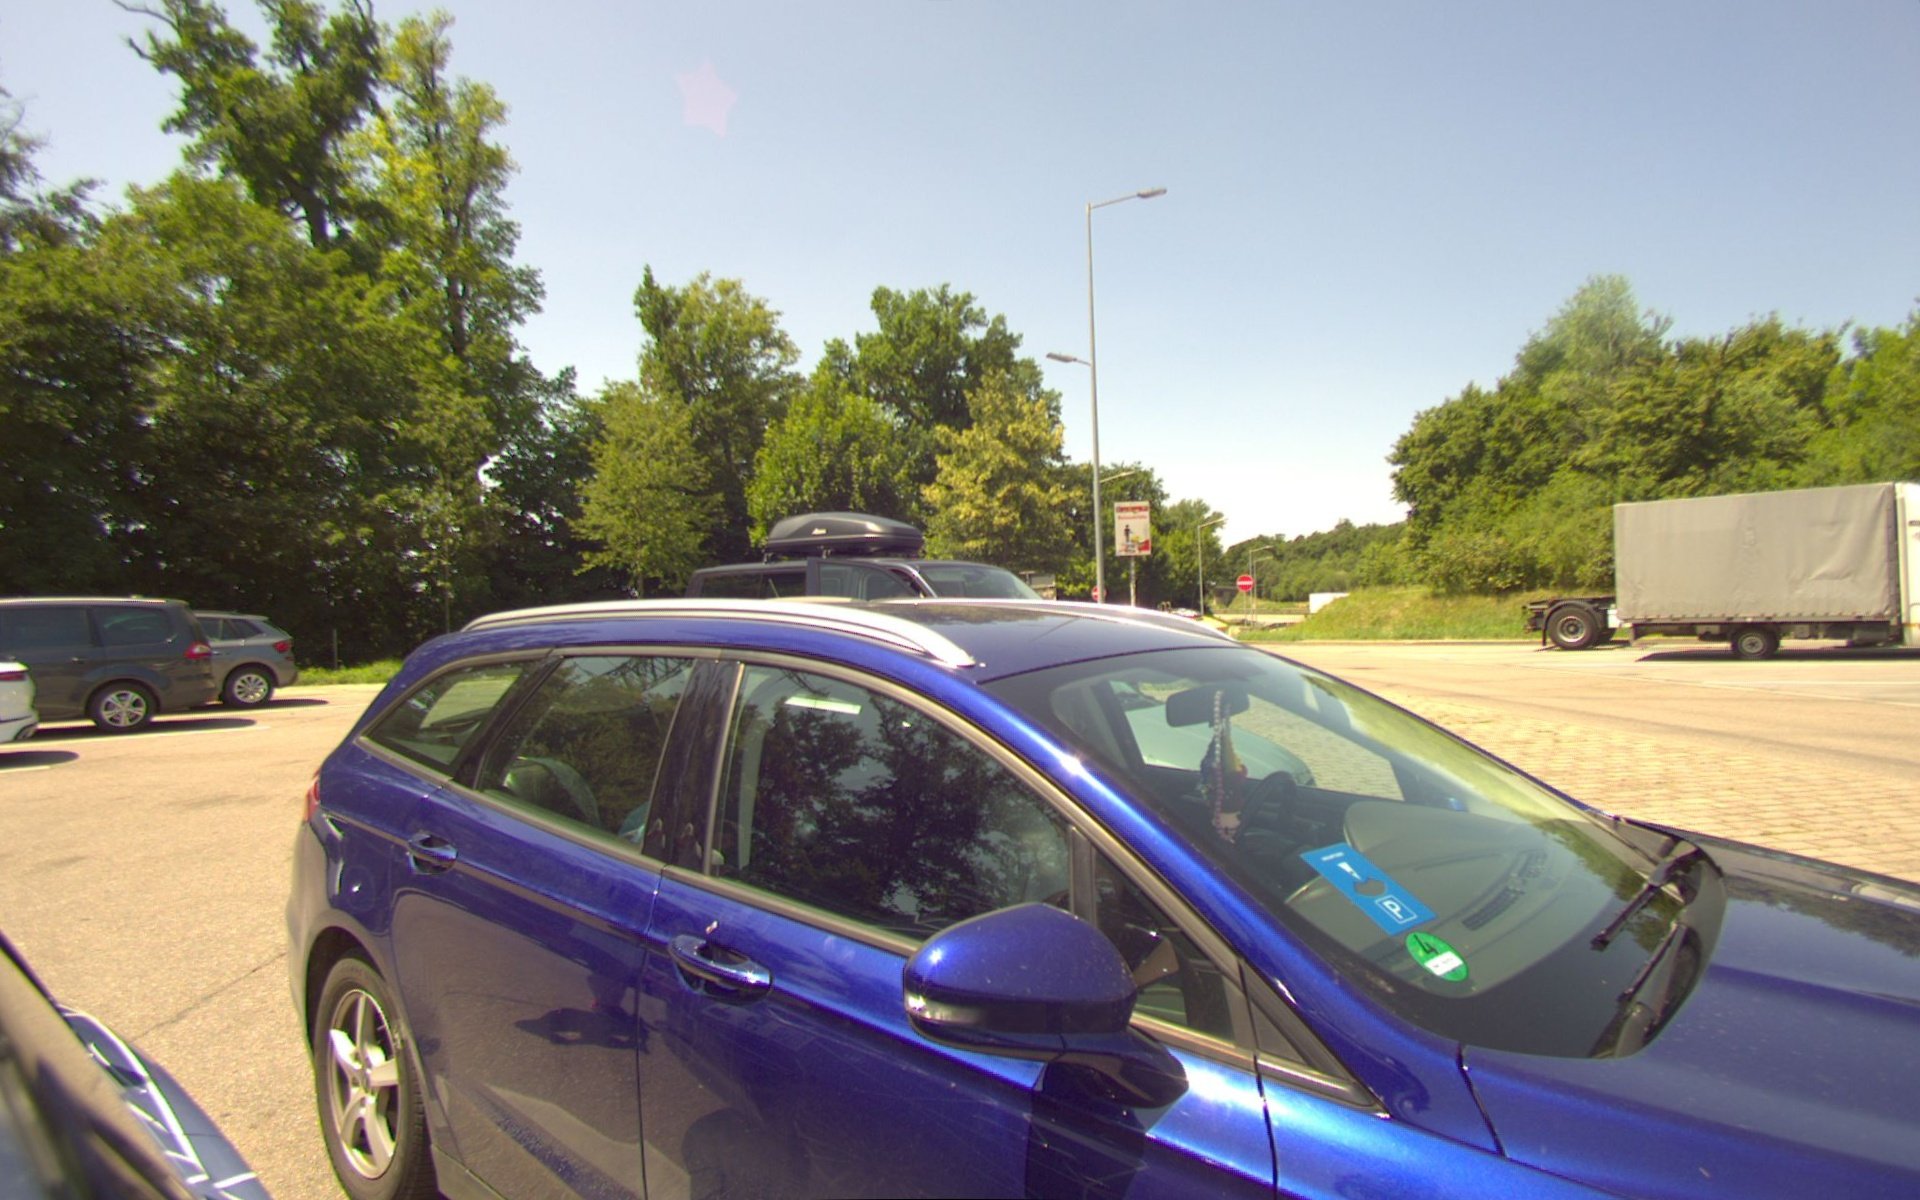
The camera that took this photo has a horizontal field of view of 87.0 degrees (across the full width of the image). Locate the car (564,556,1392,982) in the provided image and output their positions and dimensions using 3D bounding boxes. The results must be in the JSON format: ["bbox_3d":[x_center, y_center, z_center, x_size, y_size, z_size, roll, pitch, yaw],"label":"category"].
[{"bbox_3d":[-0.217,0.672,5.803,4.637,1.545,1.720,-2,0,39],"label":"car"}]

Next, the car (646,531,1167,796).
[{"bbox_3d":[-0.660,0.511,9.377,4.635,1.884,1.937,-2,0,37],"label":"car"}]

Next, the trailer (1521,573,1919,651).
[{"bbox_3d":[17.637,0.317,23.169,8.088,1.385,2.200,-4,-1,41],"label":"trailer"}]

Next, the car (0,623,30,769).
[{"bbox_3d":[-10.997,0.932,9.178,3.767,1.396,1.722,0,-1,-43],"label":"car"}]

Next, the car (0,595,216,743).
[{"bbox_3d":[-11.656,0.822,12.642,3.762,1.737,1.724,0,-1,-38],"label":"car"}]

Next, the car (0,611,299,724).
[{"bbox_3d":[-12.594,0.956,15.723,3.762,1.551,1.724,0,-1,-38],"label":"car"}]

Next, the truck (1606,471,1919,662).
[{"bbox_3d":[16.708,-0.596,18.948,7.337,3.235,2.502,-4,-1,41],"label":"truck"}]

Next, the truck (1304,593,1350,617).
[{"bbox_3d":[49.698,0.694,137.170,2.442,3.102,8.036,-1,0,-7],"label":"truck"}]

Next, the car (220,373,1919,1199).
[{"bbox_3d":[0.244,0.634,2.091,4.637,1.493,1.720,-2,-1,39],"label":"car"}]
